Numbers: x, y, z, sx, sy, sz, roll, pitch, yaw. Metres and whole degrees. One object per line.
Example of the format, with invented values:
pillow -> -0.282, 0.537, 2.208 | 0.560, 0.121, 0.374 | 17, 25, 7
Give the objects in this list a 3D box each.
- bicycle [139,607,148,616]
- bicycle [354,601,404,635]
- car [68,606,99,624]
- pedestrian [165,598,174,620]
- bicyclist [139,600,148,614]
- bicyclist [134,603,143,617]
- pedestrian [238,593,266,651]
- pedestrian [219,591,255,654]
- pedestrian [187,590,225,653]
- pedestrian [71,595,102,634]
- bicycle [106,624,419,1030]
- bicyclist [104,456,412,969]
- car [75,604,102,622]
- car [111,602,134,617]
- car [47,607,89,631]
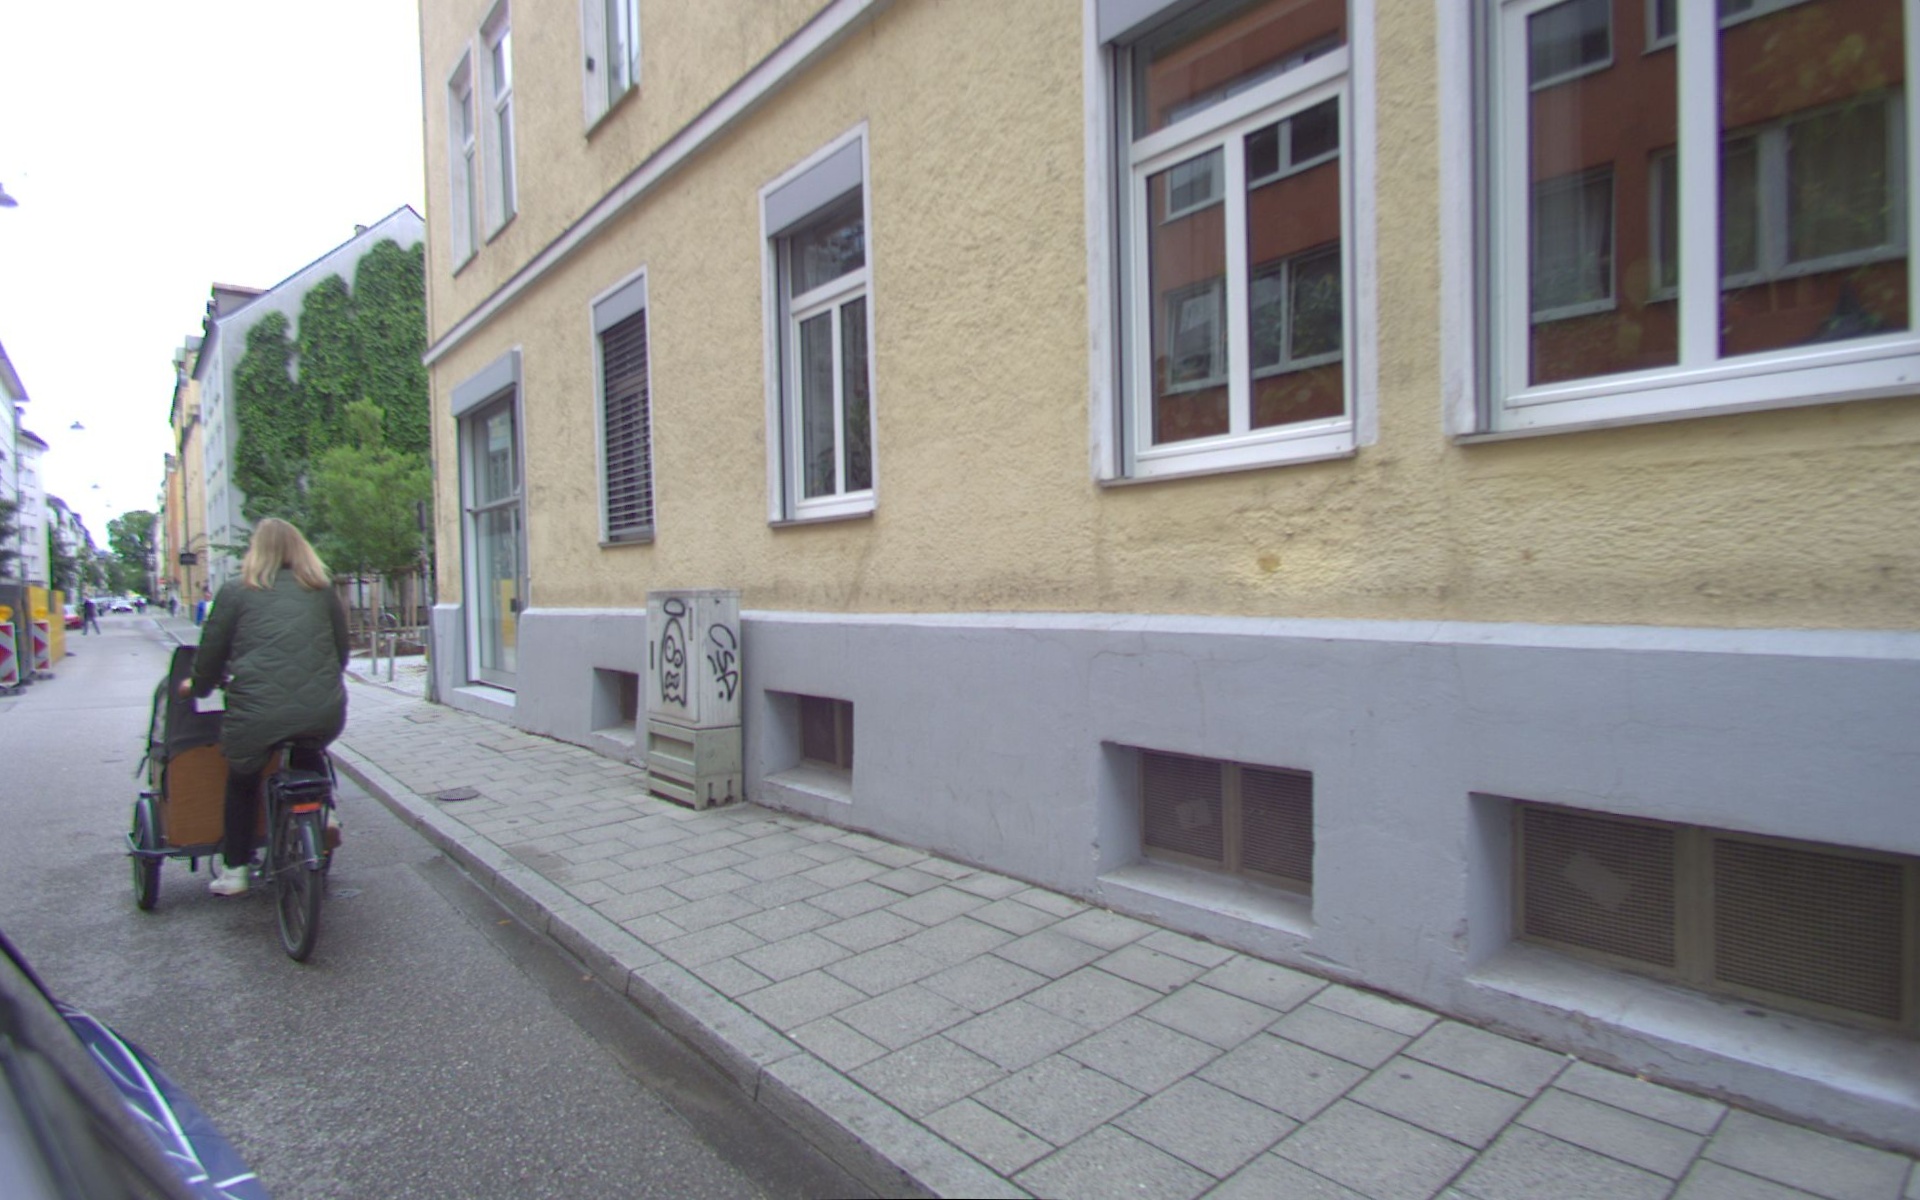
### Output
bicycle -> -86.297, 1.227, 106.945 | 0.690, 0.938, 1.697 | -2, 1, -40
bicycle -> -21.405, 0.658, 37.262 | 1.993, 1.217, 0.706 | -1, 2, 33
car -> -66.517, 1.137, 76.843 | 1.601, 1.275, 4.337 | -3, 1, -39
pedestrian -> -65.446, 0.759, 83.799 | 0.486, 1.838, 0.553 | -2, 0, -40
bicyclist -> -86.214, 0.773, 106.844 | 0.708, 1.418, 0.967 | -2, 1, -40
bicyclist -> -84.816, 1.056, 104.457 | 0.690, 1.418, 0.770 | -2, 1, -40
pedestrian -> -21.052, 0.650, 30.083 | 0.545, 1.672, 0.999 | -2, 1, -40
pedestrian -> -22.121, 0.679, 30.958 | 0.766, 1.850, 0.993 | -2, 1, -40
pedestrian -> -23.112, 0.657, 31.009 | 0.848, 1.858, 0.976 | -3, 2, -38
pedestrian -> -43.572, 0.724, 50.476 | 0.872, 1.917, 0.741 | -2, 1, 19
bicycle -> -3.229, 0.783, 4.590 | 0.920, 1.267, 2.418 | -1, 1, -39
bicyclist -> -2.880, 0.379, 4.141 | 0.915, 1.734, 1.101 | -1, 0, -39
car -> -81.073, 1.193, 94.160 | 1.767, 1.570, 4.007 | -3, 1, -40
car -> -94.661, 1.107, 114.387 | 1.969, 1.604, 4.383 | -3, 1, -40
car -> -55.959, 1.173, 63.522 | 1.782, 1.408, 4.007 | -3, 1, -40
